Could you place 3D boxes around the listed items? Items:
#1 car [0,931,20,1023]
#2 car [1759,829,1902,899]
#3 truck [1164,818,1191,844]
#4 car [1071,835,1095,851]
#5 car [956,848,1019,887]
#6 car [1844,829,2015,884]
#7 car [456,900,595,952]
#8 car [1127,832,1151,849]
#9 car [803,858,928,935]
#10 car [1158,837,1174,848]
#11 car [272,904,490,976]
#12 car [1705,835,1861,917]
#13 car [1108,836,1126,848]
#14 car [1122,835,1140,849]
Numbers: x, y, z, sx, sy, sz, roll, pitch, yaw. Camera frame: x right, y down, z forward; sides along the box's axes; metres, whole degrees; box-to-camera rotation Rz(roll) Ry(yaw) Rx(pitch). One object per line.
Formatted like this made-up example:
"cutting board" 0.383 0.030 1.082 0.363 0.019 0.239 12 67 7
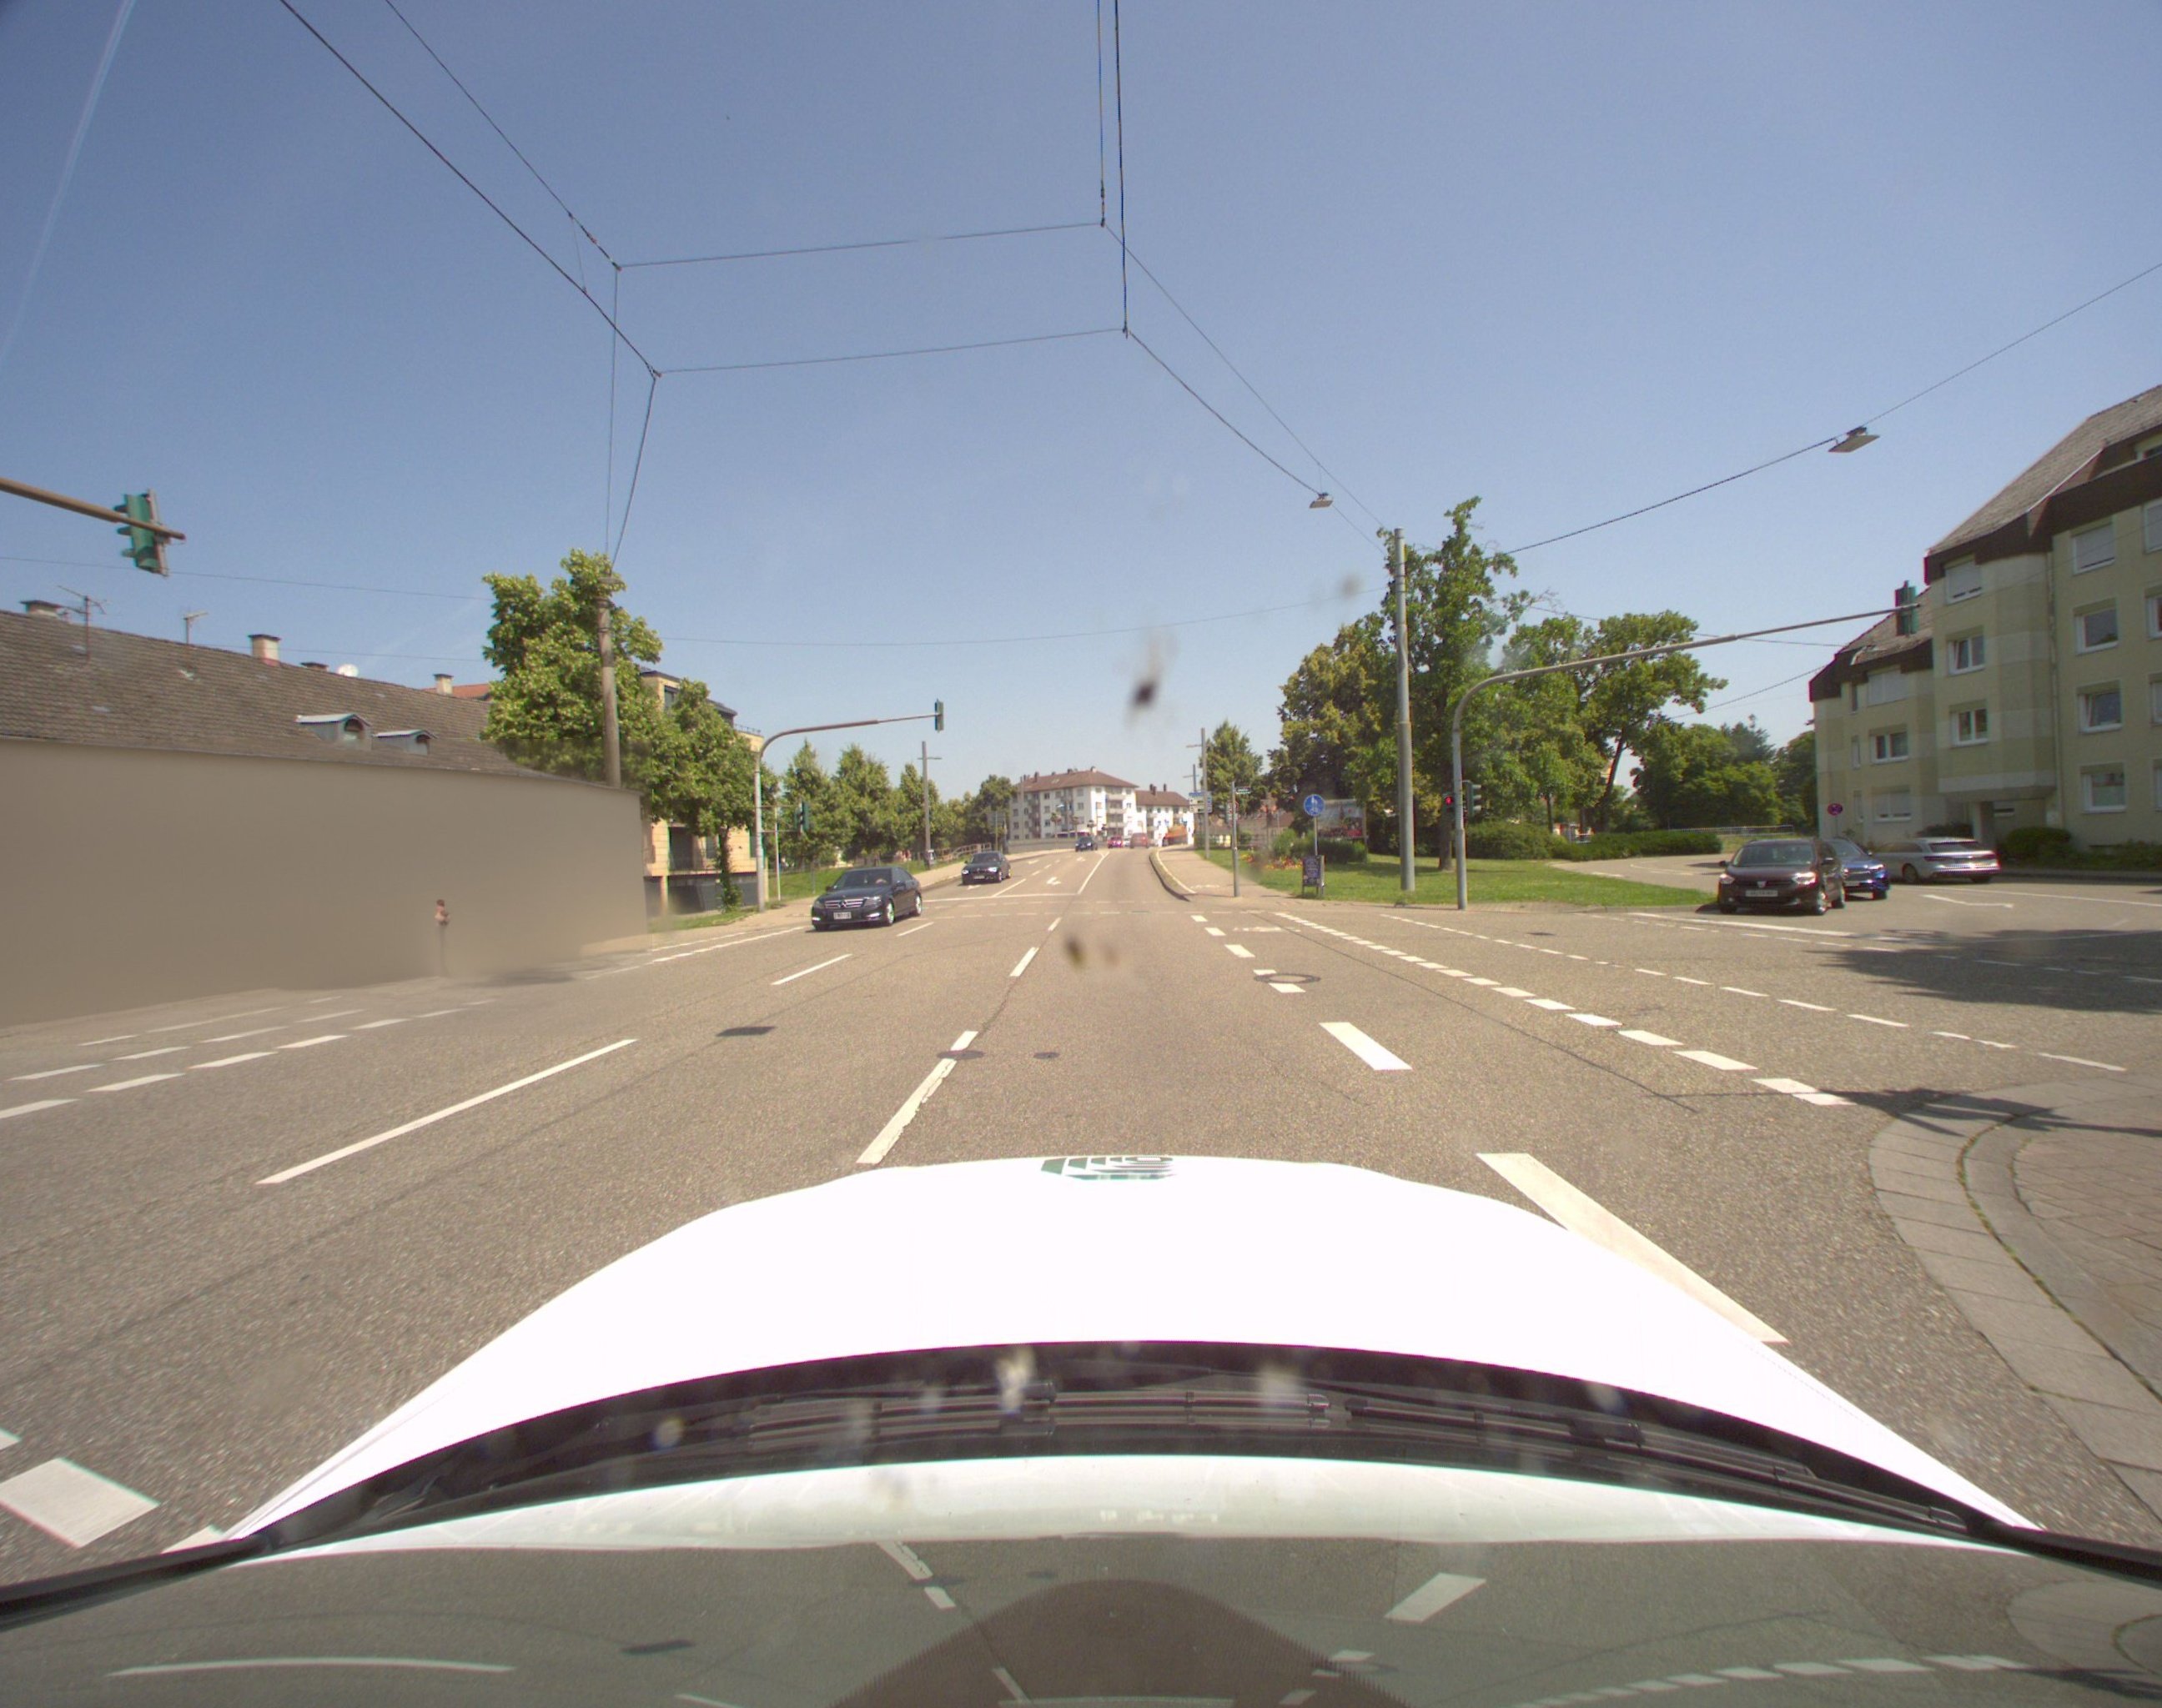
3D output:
"car" -18.927 2.097 11.593 4.593 1.401 2.115 -5 0 -2
"car" 20.528 0.263 22.563 1.974 1.701 4.799 -3 -1 32
"truck" 10.996 -2.614 92.708 2.589 2.691 5.840 -3 1 10
"car" 0.258 -1.103 80.255 1.704 1.485 4.041 -1 0 9
"car" -4.314 0.600 38.120 1.826 1.399 4.061 -4 3 8
"car" 26.740 0.074 25.909 1.877 1.499 4.552 -3 -1 19
"car" -21.294 2.716 31.466 1.765 1.432 4.442 -3 1 9
"car" 5.858 -1.351 81.475 1.979 1.613 4.353 -3 0 8
"car" -5.203 0.962 20.275 1.749 1.560 4.319 -4 0 1
"car" 12.105 -1.655 115.570 2.026 1.503 4.429 -1 0 10
"car" -22.162 2.658 26.171 1.804 1.628 5.300 -5 -1 9
"car" 15.997 0.440 18.465 4.843 1.632 1.895 -1 -1 -40
"car" 4.386 -1.438 99.348 1.637 1.464 3.871 -2 0 9
"car" 7.201 -1.698 116.029 1.825 1.860 4.678 -4 0 11
